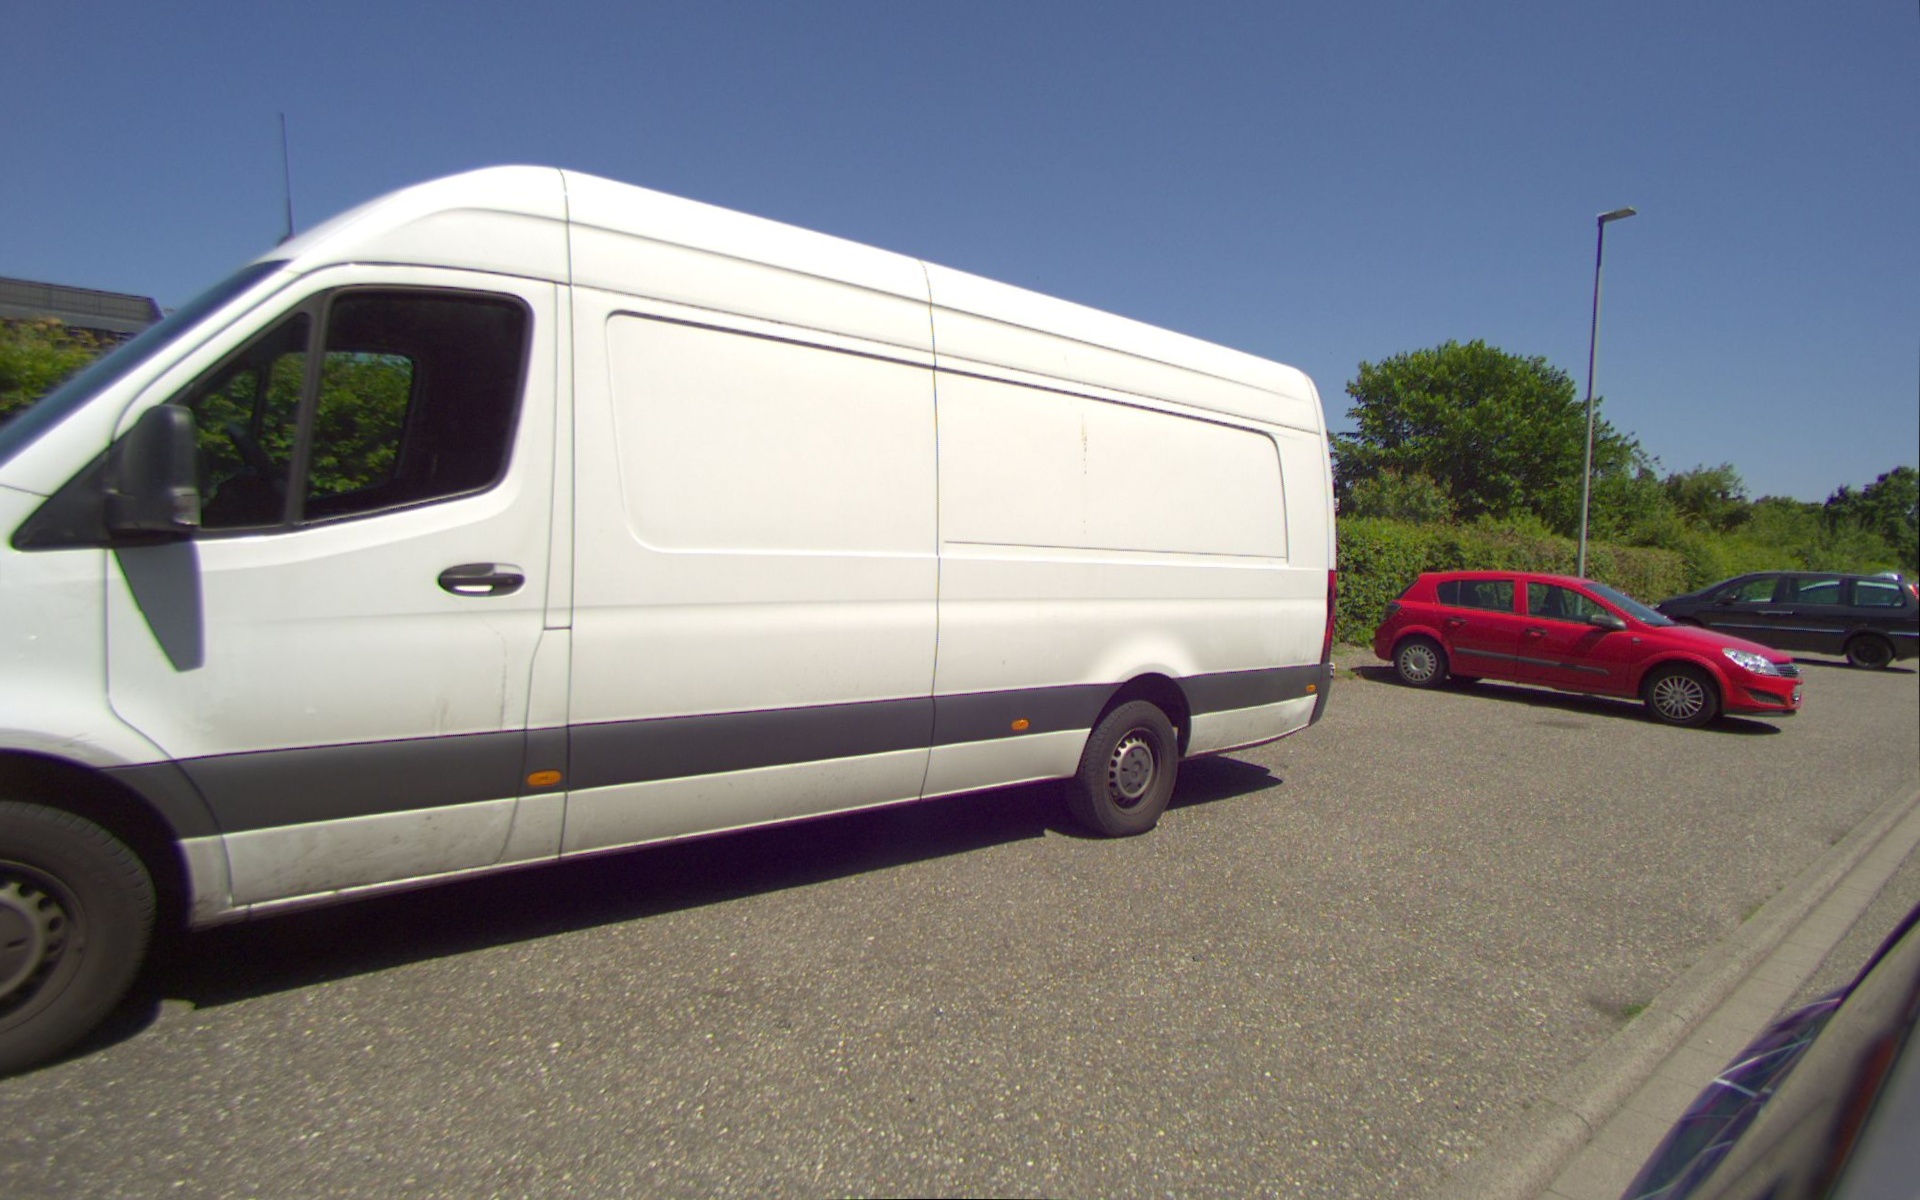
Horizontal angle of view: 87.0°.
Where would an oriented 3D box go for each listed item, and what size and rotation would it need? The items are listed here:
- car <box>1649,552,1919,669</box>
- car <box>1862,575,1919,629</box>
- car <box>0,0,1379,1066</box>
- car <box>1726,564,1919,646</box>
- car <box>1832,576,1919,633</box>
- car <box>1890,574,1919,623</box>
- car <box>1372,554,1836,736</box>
[{"bbox_3d":[16.530,0.125,19.967,1.921,1.826,4.459,-1,6,-44],"label":"car"},{"bbox_3d":[30.751,0.193,31.370,3.967,1.540,1.835,9,6,44],"label":"car"},{"bbox_3d":[-0.838,-0.349,4.751,7.039,2.766,1.960,0,5,-40],"label":"car"},{"bbox_3d":[21.051,0.102,23.975,1.735,1.596,4.285,0,5,-42],"label":"car"},{"bbox_3d":[28.226,0.181,29.885,1.558,1.522,3.400,1,4,-37],"label":"car"},{"bbox_3d":[35.139,0.129,35.164,1.636,1.659,3.967,0,6,-44],"label":"car"},{"bbox_3d":[7.122,0.353,11.513,1.805,1.451,4.062,0,5,-43],"label":"car"}]
